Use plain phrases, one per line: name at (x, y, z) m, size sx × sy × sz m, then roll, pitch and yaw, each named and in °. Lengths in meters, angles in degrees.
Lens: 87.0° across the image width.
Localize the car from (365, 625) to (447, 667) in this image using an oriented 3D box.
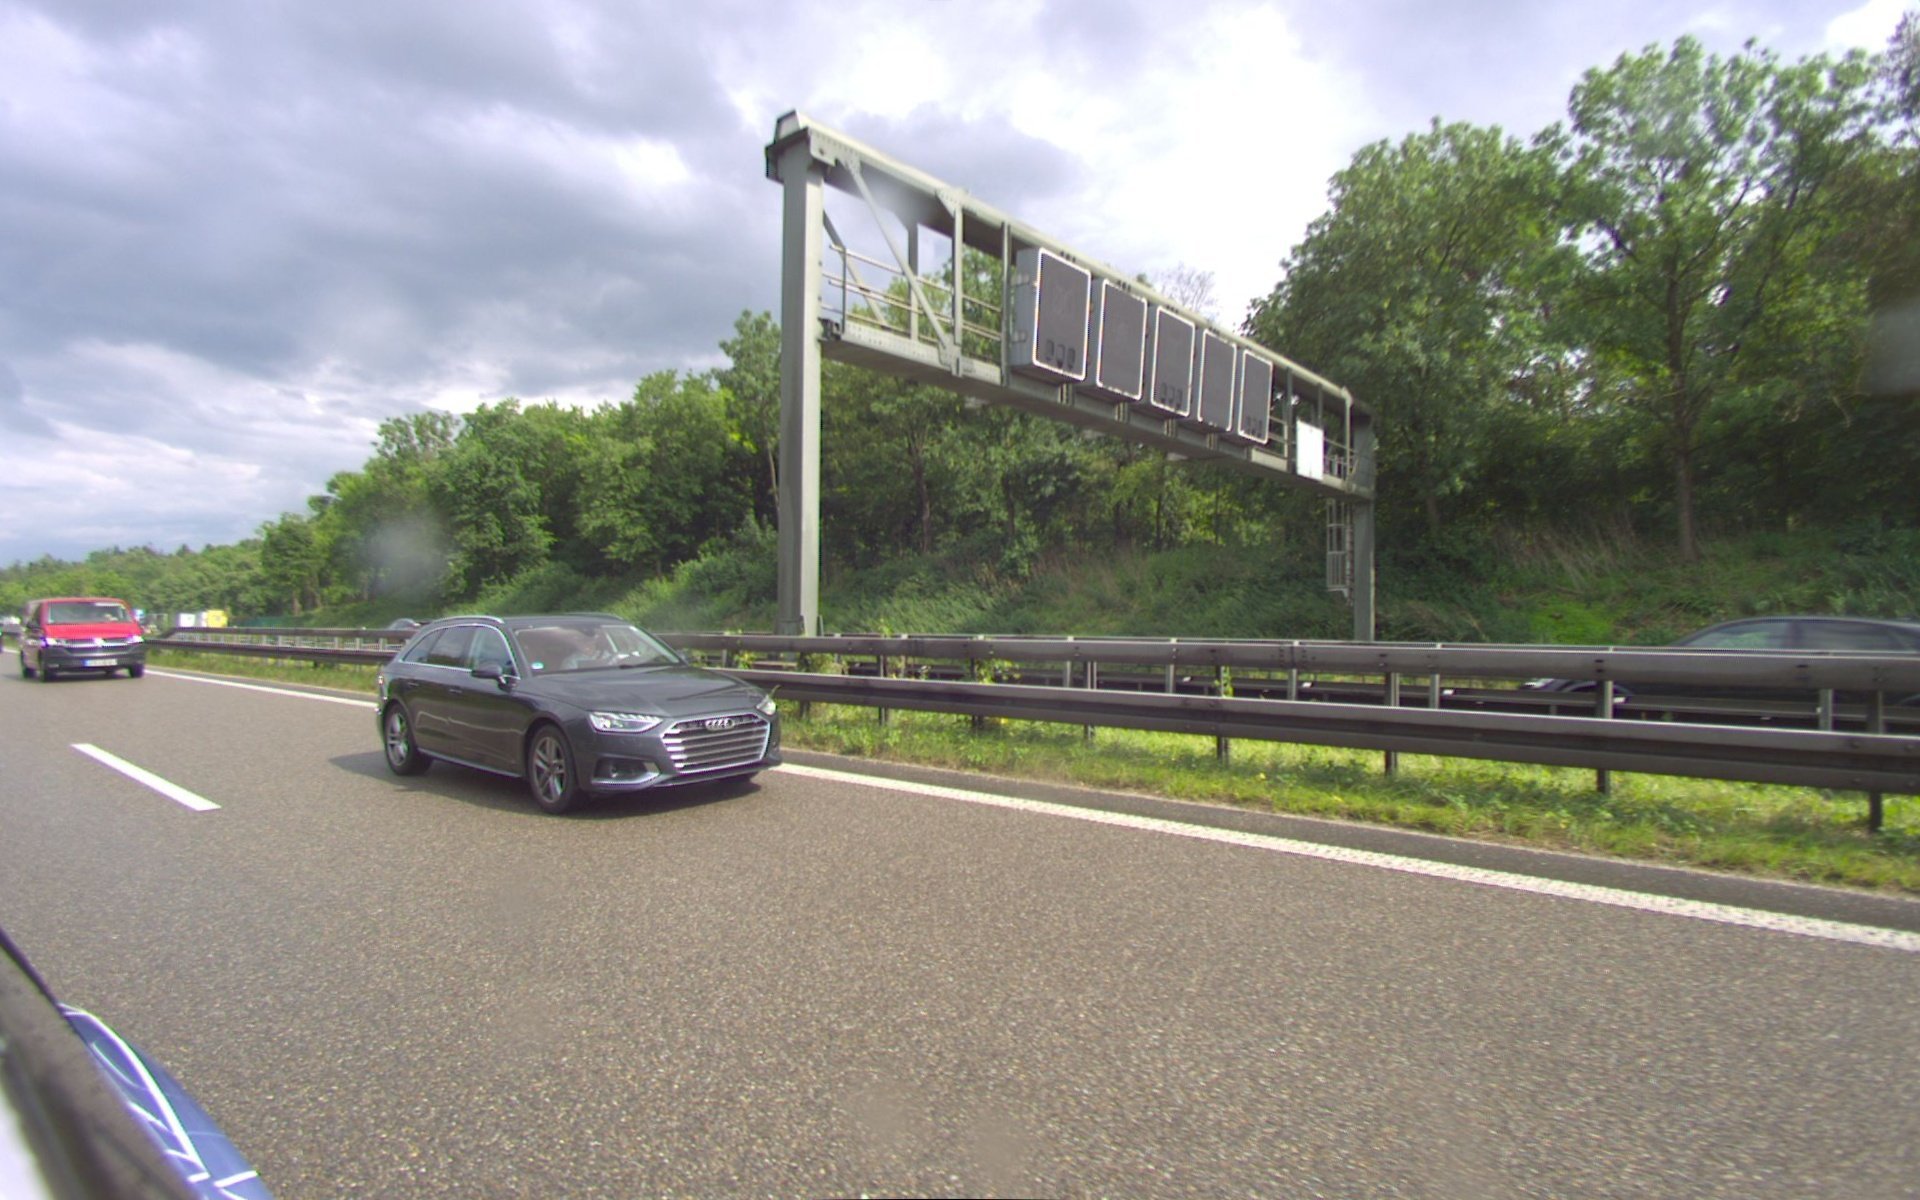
car at (-24.356, 1.966, 44.445) m, size 4.234 × 1.675 × 1.835 m, roll -1°, pitch 0°, yaw 41°

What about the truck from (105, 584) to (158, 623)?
truck at (-105.256, 0.502, 128.440) m, size 11.873 × 4.756 × 3.574 m, roll -1°, pitch 0°, yaw 43°

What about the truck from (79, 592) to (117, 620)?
truck at (-151.224, 1.150, 177.477) m, size 11.873 × 4.756 × 3.574 m, roll -1°, pitch 0°, yaw 43°

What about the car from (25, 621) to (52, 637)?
car at (-105.851, 3.313, 116.252) m, size 4.234 × 1.675 × 1.835 m, roll -1°, pitch 0°, yaw 41°

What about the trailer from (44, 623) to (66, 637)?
trailer at (-113.486, 3.739, 126.839) m, size 3.877 × 1.675 × 1.569 m, roll -1°, pitch 0°, yaw 41°

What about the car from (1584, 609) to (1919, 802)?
car at (8.636, 0.937, 9.883) m, size 4.110 × 1.675 × 1.748 m, roll -1°, pitch 0°, yaw 41°

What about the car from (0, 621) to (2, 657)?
car at (-42.007, 1.646, 42.659) m, size 4.838 × 1.508 × 1.983 m, roll -1°, pitch 0°, yaw 42°

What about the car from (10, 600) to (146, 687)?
car at (-21.314, 0.981, 24.391) m, size 4.838 × 1.880 × 1.901 m, roll -1°, pitch 0°, yaw 42°

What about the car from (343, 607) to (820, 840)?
car at (-3.452, 0.804, 8.626) m, size 4.838 × 1.429 × 1.775 m, roll -1°, pitch 0°, yaw 42°

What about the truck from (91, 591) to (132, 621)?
truck at (-138.255, 0.968, 164.876) m, size 11.873 × 4.756 × 3.574 m, roll -1°, pitch 0°, yaw 43°
